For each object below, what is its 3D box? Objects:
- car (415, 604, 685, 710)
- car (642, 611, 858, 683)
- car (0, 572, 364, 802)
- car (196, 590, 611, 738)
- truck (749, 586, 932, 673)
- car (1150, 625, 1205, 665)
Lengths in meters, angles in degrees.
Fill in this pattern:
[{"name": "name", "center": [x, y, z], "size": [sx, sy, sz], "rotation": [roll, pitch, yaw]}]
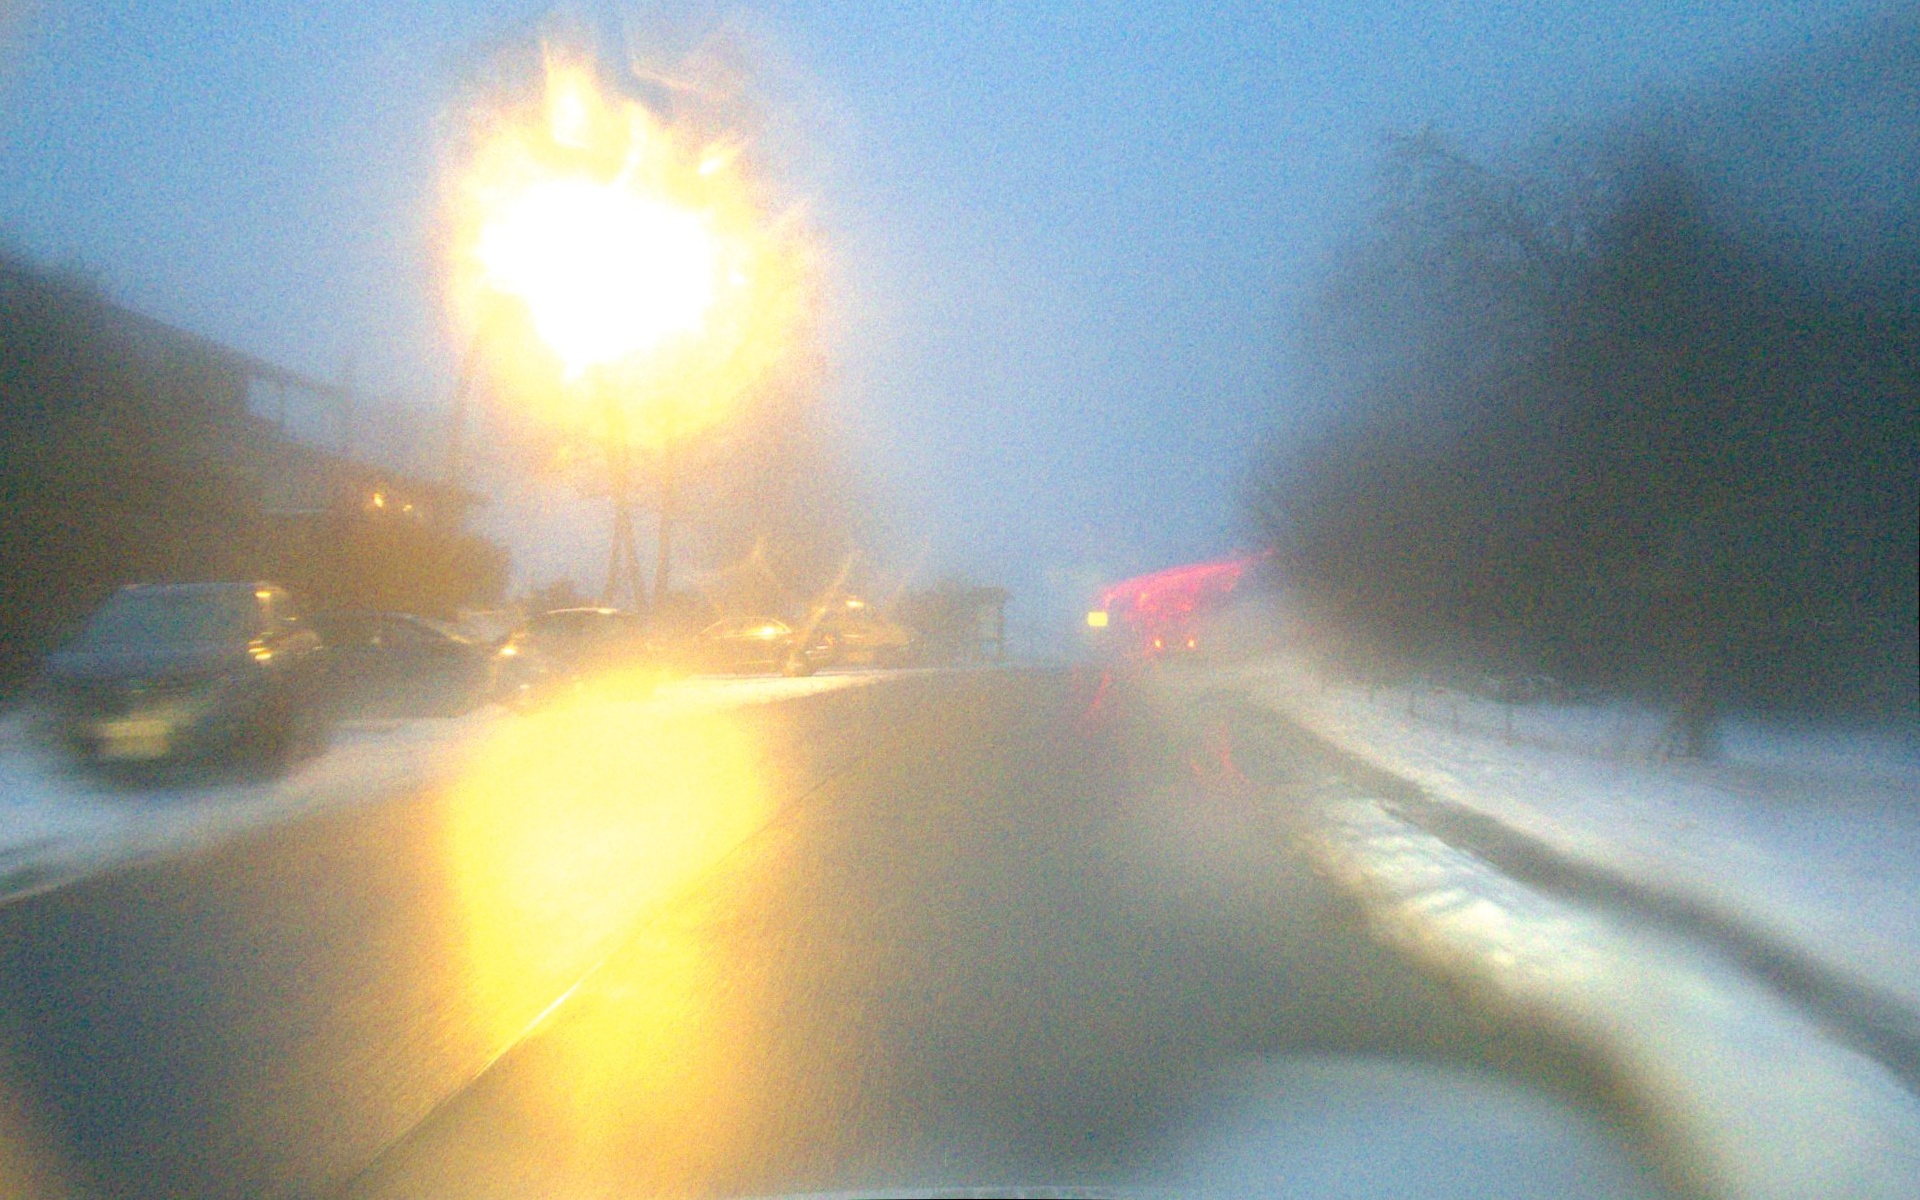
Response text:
[{"name": "car", "center": [-6.437, 0.884, 26.280], "size": [3.775, 1.497, 1.938], "rotation": [-2, -1, -1]}, {"name": "car", "center": [-4.962, 1.109, 39.559], "size": [4.785, 1.511, 2.124], "rotation": [-2, -1, 3]}, {"name": "car", "center": [-6.637, 0.689, 14.686], "size": [1.960, 1.593, 4.978], "rotation": [-3, -1, -14]}, {"name": "car", "center": [-6.732, 0.759, 20.461], "size": [4.439, 1.594, 2.109], "rotation": [-2, -1, -5]}, {"name": "truck", "center": [-3.517, 0.875, 49.286], "size": [5.151, 2.343, 2.001], "rotation": [-2, -1, 3]}, {"name": "car", "center": [8.287, 1.723, 63.192], "size": [1.951, 1.445, 4.002], "rotation": [1, -1, 6]}]
